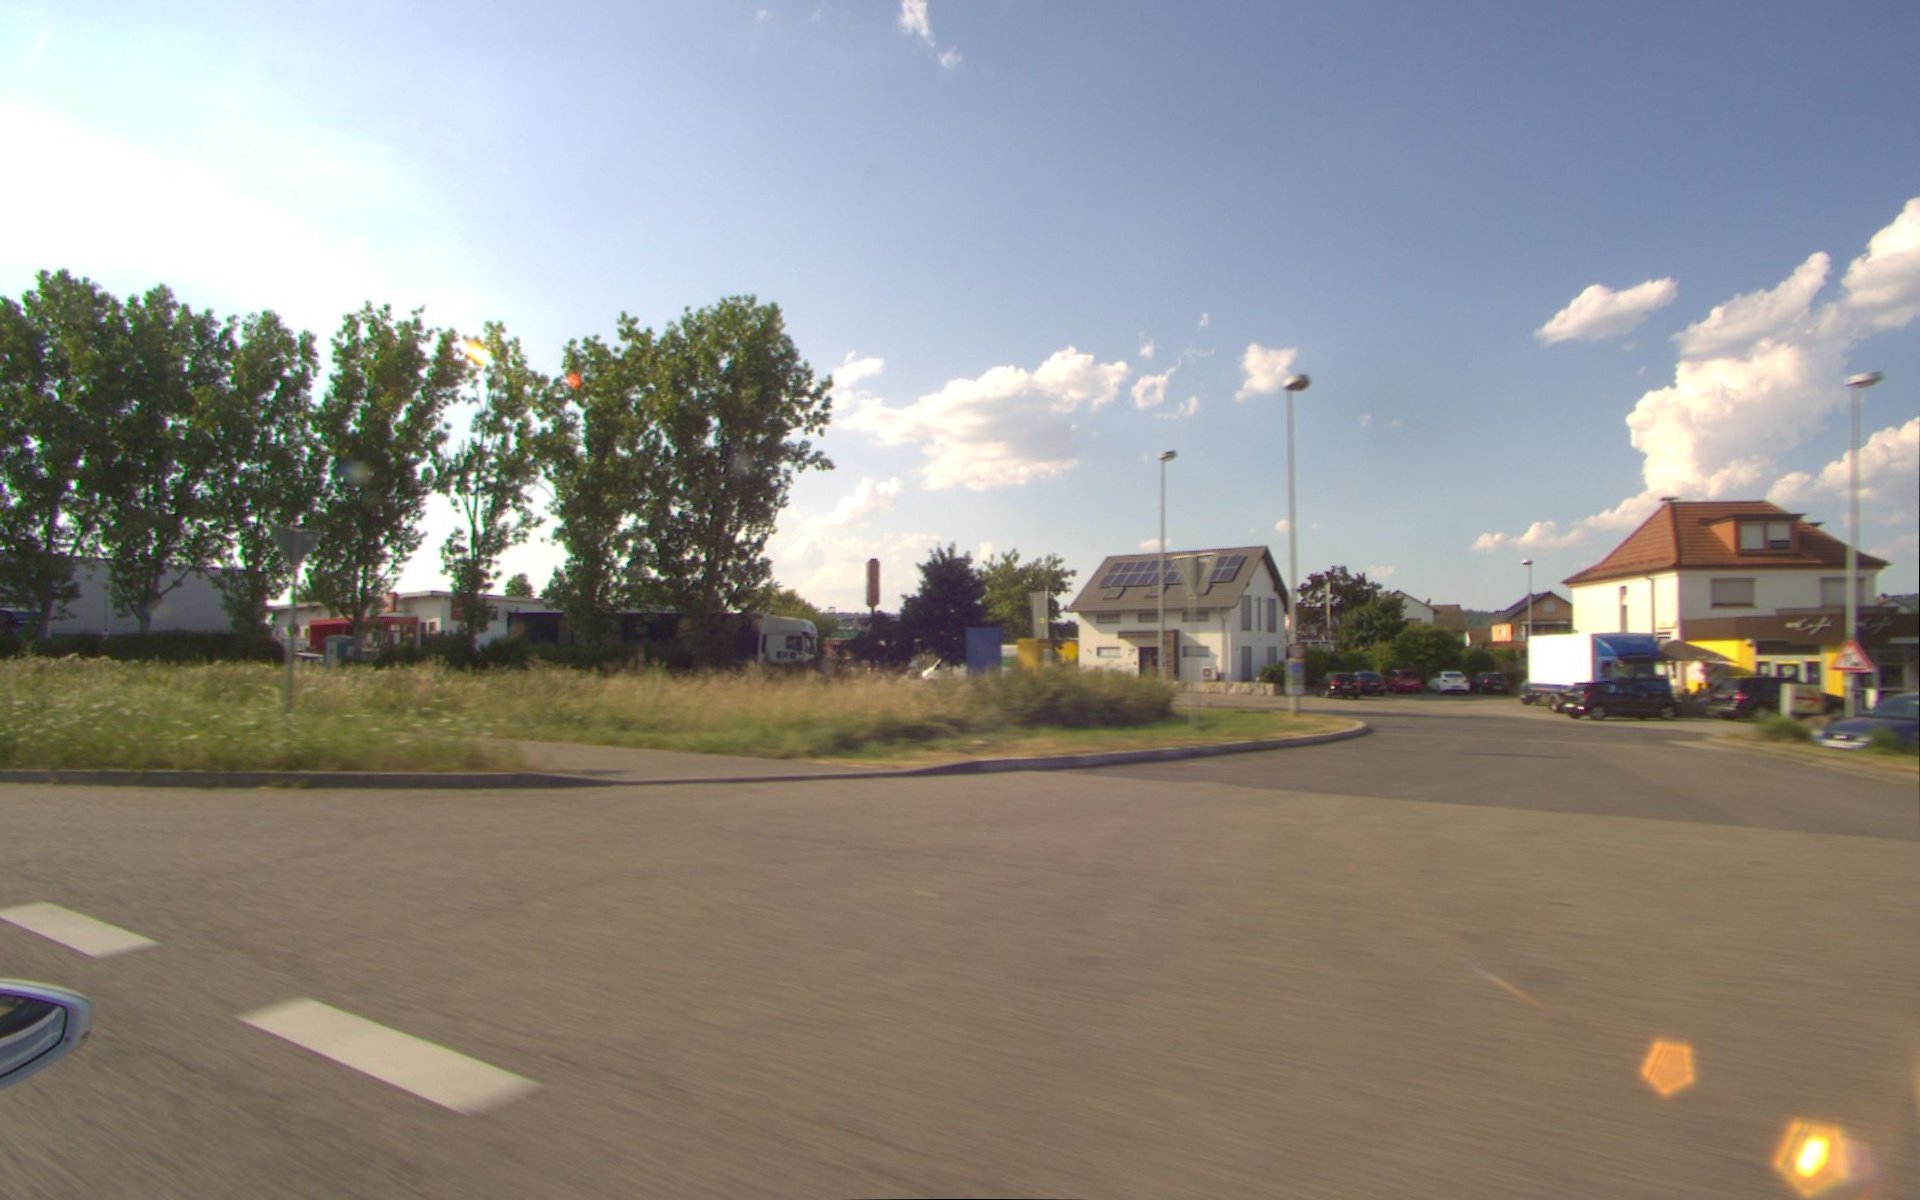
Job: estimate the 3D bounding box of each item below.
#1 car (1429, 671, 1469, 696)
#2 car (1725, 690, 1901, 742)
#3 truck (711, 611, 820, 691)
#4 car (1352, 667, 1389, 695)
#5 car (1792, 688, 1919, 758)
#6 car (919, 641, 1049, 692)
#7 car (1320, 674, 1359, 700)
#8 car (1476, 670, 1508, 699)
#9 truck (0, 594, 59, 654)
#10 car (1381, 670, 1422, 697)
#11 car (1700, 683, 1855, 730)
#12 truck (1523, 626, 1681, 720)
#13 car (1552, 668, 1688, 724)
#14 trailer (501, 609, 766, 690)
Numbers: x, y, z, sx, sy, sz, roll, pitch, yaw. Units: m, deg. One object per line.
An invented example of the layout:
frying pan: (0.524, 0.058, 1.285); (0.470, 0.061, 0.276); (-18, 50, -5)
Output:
car: (32.137, 5.531, 65.922); (1.562, 1.594, 3.557); (0, -5, 12)
car: (18.510, 2.509, 21.781); (2.851, 1.049, 1.319); (2, -5, -8)
truck: (-9.984, 2.654, 51.634); (5.019, 3.961, 2.254); (1, -4, 2)
car: (26.522, 5.236, 64.694); (1.822, 1.647, 3.588); (-1, -6, 29)
car: (18.446, 2.350, 19.123); (3.840, 1.216, 1.603); (1, -4, -3)
car: (1.258, 3.558, 53.625); (6.714, 2.548, 2.230); (-2, -5, 28)
car: (21.770, 5.010, 57.579); (1.817, 1.410, 3.598); (0, -5, 17)
car: (35.036, 5.581, 65.906); (1.822, 1.821, 3.587); (-2, -6, 29)
truck: (-55.505, 1.422, 57.308); (5.598, 3.198, 2.633); (0, -5, 5)
car: (29.722, 5.655, 67.482); (1.670, 1.699, 3.601); (0, -5, 10)
car: (31.131, 4.055, 38.213); (4.336, 1.653, 1.853); (1, -5, 0)
truck: (28.019, 3.312, 44.224); (2.714, 3.731, 8.021); (0, -5, 8)
car: (25.509, 3.713, 38.830); (4.009, 2.037, 1.772); (1, -5, 4)
trailer: (-17.088, 2.595, 52.504); (13.457, 3.961, 2.253); (0, -5, 8)
